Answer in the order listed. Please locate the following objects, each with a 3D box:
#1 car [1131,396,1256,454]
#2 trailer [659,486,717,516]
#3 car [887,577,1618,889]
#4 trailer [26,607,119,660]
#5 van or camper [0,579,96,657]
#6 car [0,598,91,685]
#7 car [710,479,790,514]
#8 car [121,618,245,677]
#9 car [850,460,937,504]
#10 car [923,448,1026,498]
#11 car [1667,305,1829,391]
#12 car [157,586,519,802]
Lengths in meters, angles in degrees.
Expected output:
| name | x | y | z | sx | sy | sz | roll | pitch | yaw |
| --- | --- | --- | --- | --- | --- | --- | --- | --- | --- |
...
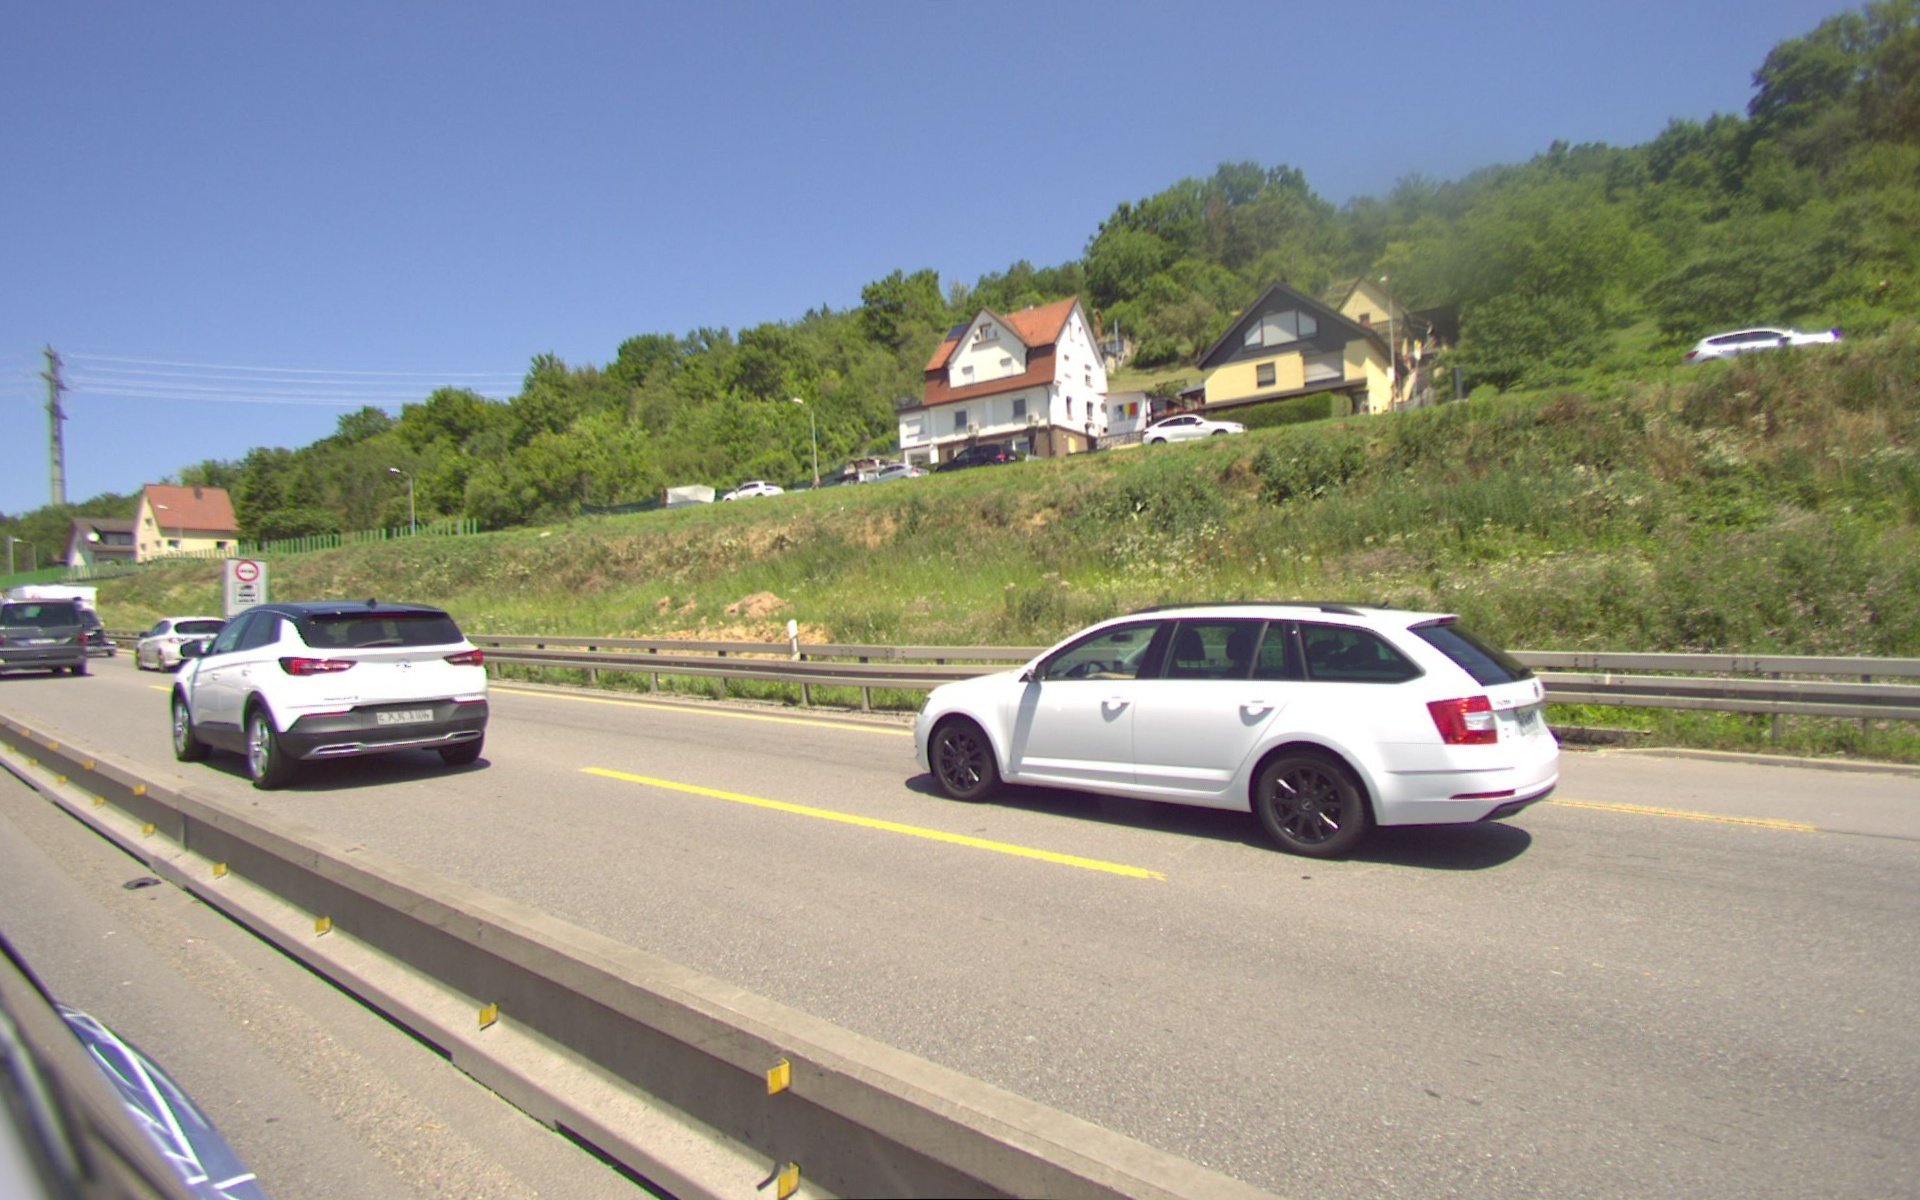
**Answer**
| name | x | y | z | sx | sy | sz | roll | pitch | yaw |
| --- | --- | --- | --- | --- | --- | --- | --- | --- | --- |
| car | 10.244 | -7.636 | 44.594 | 4.999 | 1.807 | 1.977 | 0 | 0 | 35 |
| trailer | -16.882 | -6.124 | 62.789 | 3.026 | 1.527 | 1.888 | 0 | 0 | 30 |
| car | 1.754 | 0.688 | 7.085 | 4.596 | 1.508 | 1.786 | -1 | -1 | 40 |
| trailer | -34.765 | 1.288 | 39.578 | 5.138 | 1.908 | 2.080 | -1 | -1 | 41 |
| van or camper | -39.260 | 0.761 | 43.487 | 6.920 | 3.089 | 2.267 | -1 | -1 | 41 |
| car | -23.811 | 0.994 | 25.678 | 4.902 | 2.029 | 1.891 | -1 | -1 | 40 |
| car | -12.467 | -6.115 | 59.982 | 4.537 | 1.668 | 1.979 | 0 | 0 | 32 |
| car | -21.227 | 1.240 | 27.580 | 4.553 | 1.442 | 1.791 | -1 | 0 | 41 |
| car | -3.597 | -6.283 | 54.286 | 4.421 | 1.886 | 1.976 | 0 | 0 | 36 |
| car | 0.700 | -6.403 | 51.489 | 4.963 | 2.023 | 2.052 | 0 | 0 | 36 |
| car | 25.300 | -8.055 | 32.678 | 3.990 | 1.807 | 1.977 | 0 | 0 | 35 |
| car | -6.142 | 0.753 | 9.799 | 4.169 | 1.652 | 1.788 | -1 | -1 | 40 |
